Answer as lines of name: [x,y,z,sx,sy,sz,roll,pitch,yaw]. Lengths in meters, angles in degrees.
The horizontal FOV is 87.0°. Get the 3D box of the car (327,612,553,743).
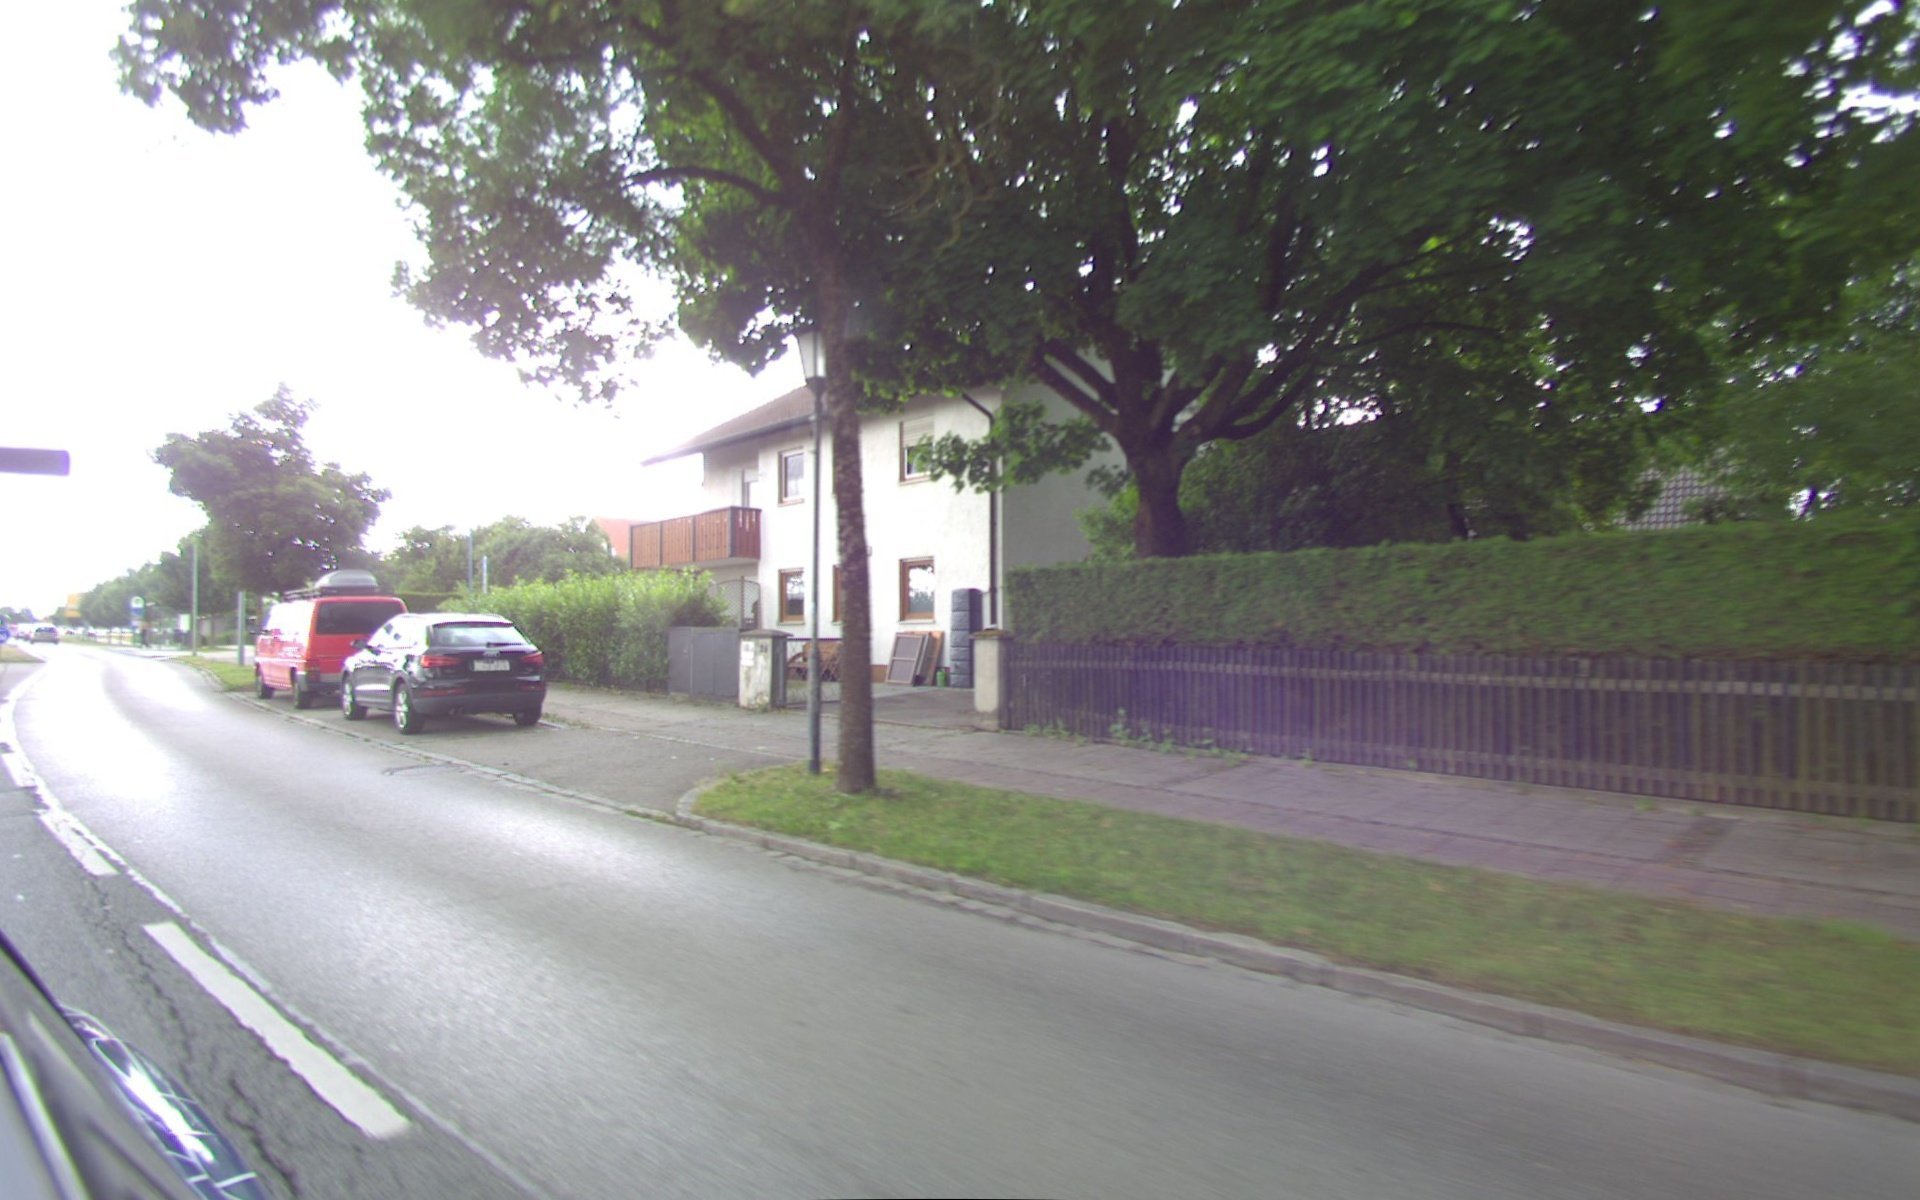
car: [-7.674,1.030,14.744,1.751,1.610,4.240,0,-2,-44]

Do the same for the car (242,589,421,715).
car: [-11.890,0.929,18.974,1.809,2.046,5.049,1,-2,-44]

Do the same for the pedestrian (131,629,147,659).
pedestrian: [-45.646,2.449,56.236,0.813,1.649,0.581,-2,-3,44]

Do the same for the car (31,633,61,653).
car: [-74.251,3.492,82.177,1.686,1.544,3.511,3,-4,-43]
